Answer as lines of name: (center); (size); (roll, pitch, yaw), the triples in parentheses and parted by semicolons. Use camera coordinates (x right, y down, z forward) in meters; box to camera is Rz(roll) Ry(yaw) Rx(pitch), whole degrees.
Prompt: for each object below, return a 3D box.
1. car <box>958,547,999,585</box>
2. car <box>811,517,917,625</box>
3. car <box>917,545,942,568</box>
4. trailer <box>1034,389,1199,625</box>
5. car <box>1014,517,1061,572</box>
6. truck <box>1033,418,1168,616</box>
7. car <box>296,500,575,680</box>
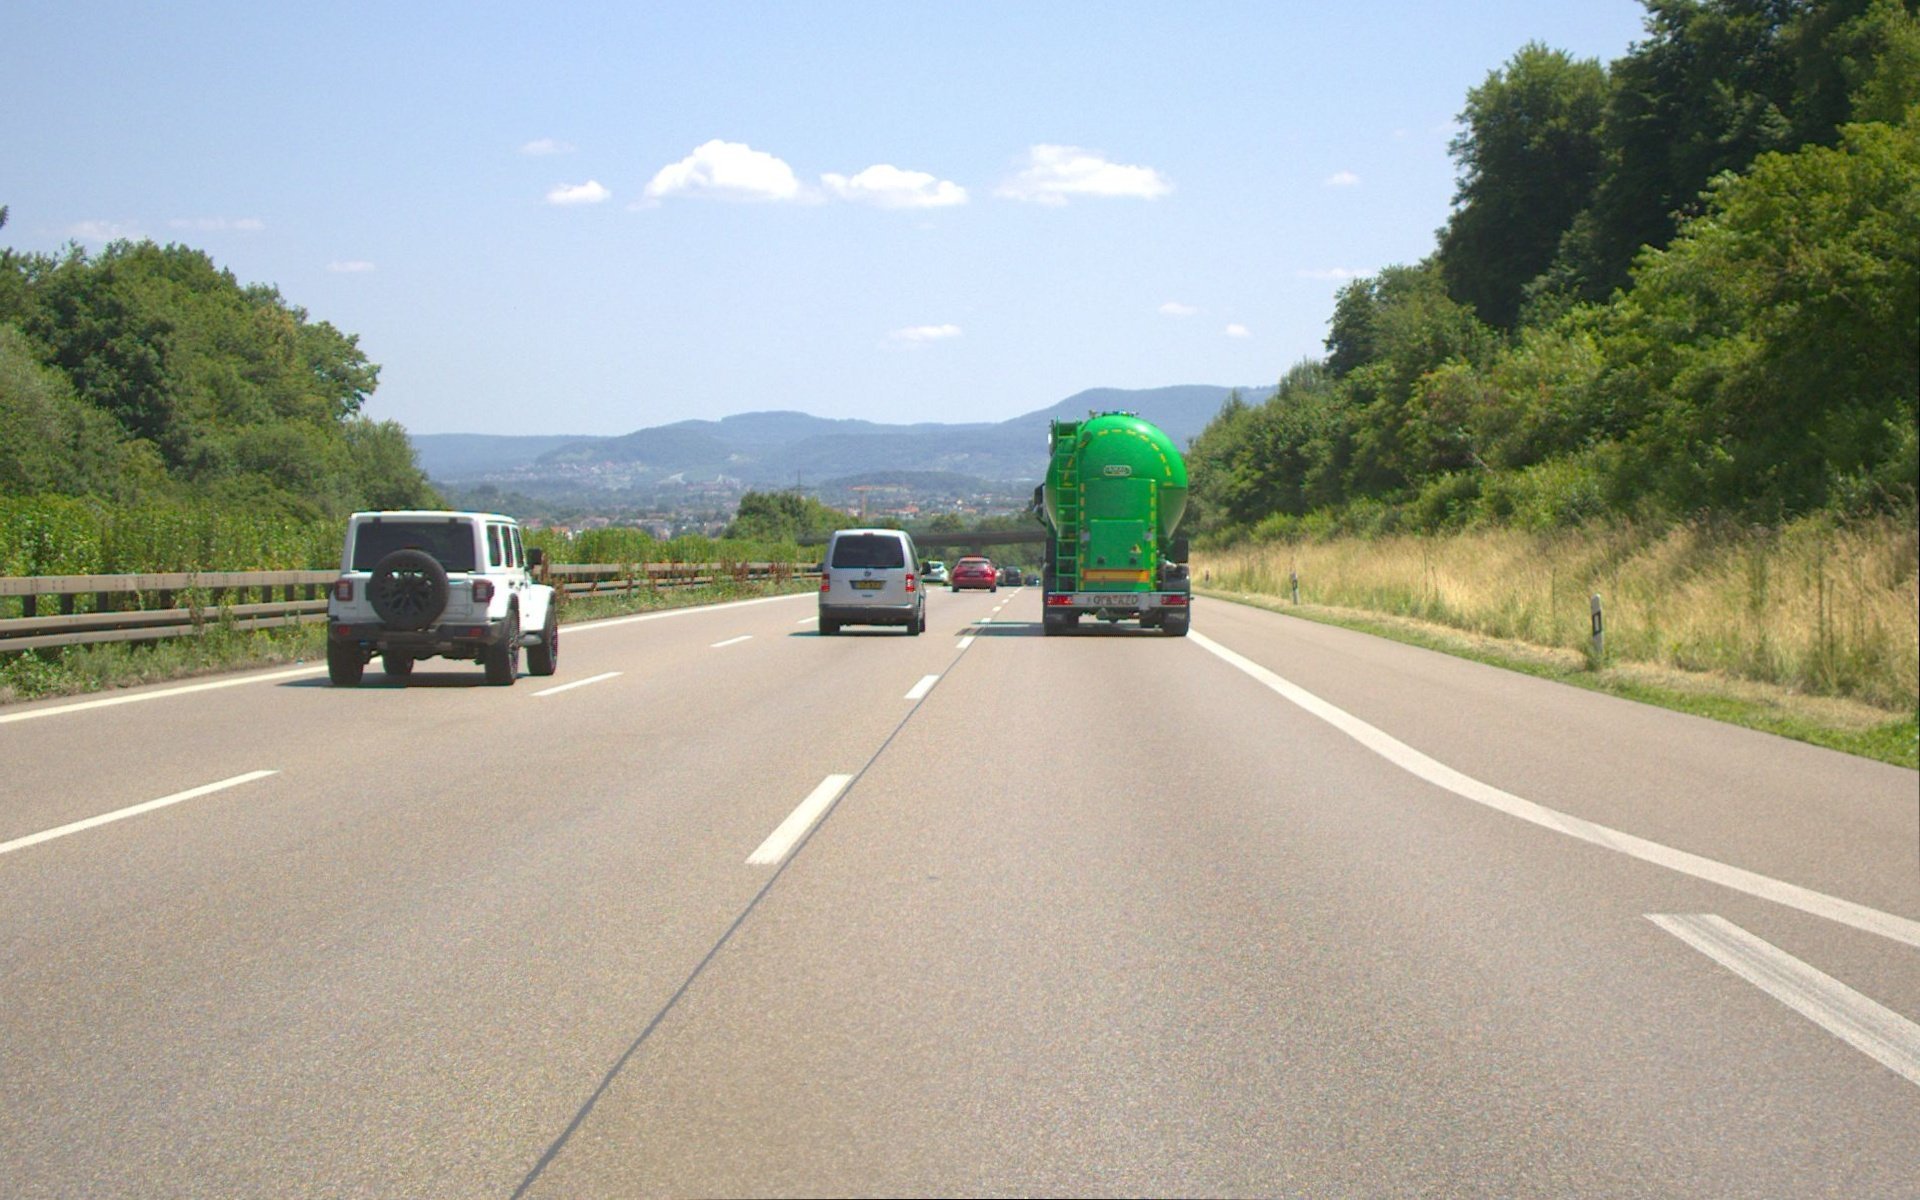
car: (0.765, -1.421, 142.194); (1.446, 1.545, 3.356); (1, 1, 4)
car: (-1.663, -0.540, 60.746); (1.745, 1.823, 4.801); (1, 1, 0)
car: (-1.868, -2.706, 211.466); (1.401, 1.391, 3.212); (1, 1, 2)
trailer: (2.796, -1.687, 64.098); (2.587, 4.014, 10.470); (1, 1, 0)
car: (3.750, -2.677, 164.742); (2.089, 2.567, 6.621); (1, 1, 3)
truck: (2.787, -1.661, 69.315); (2.509, 3.828, 4.892); (1, 1, 0)
car: (-5.649, -0.148, 37.643); (2.084, 1.823, 4.753); (1, 1, 3)
